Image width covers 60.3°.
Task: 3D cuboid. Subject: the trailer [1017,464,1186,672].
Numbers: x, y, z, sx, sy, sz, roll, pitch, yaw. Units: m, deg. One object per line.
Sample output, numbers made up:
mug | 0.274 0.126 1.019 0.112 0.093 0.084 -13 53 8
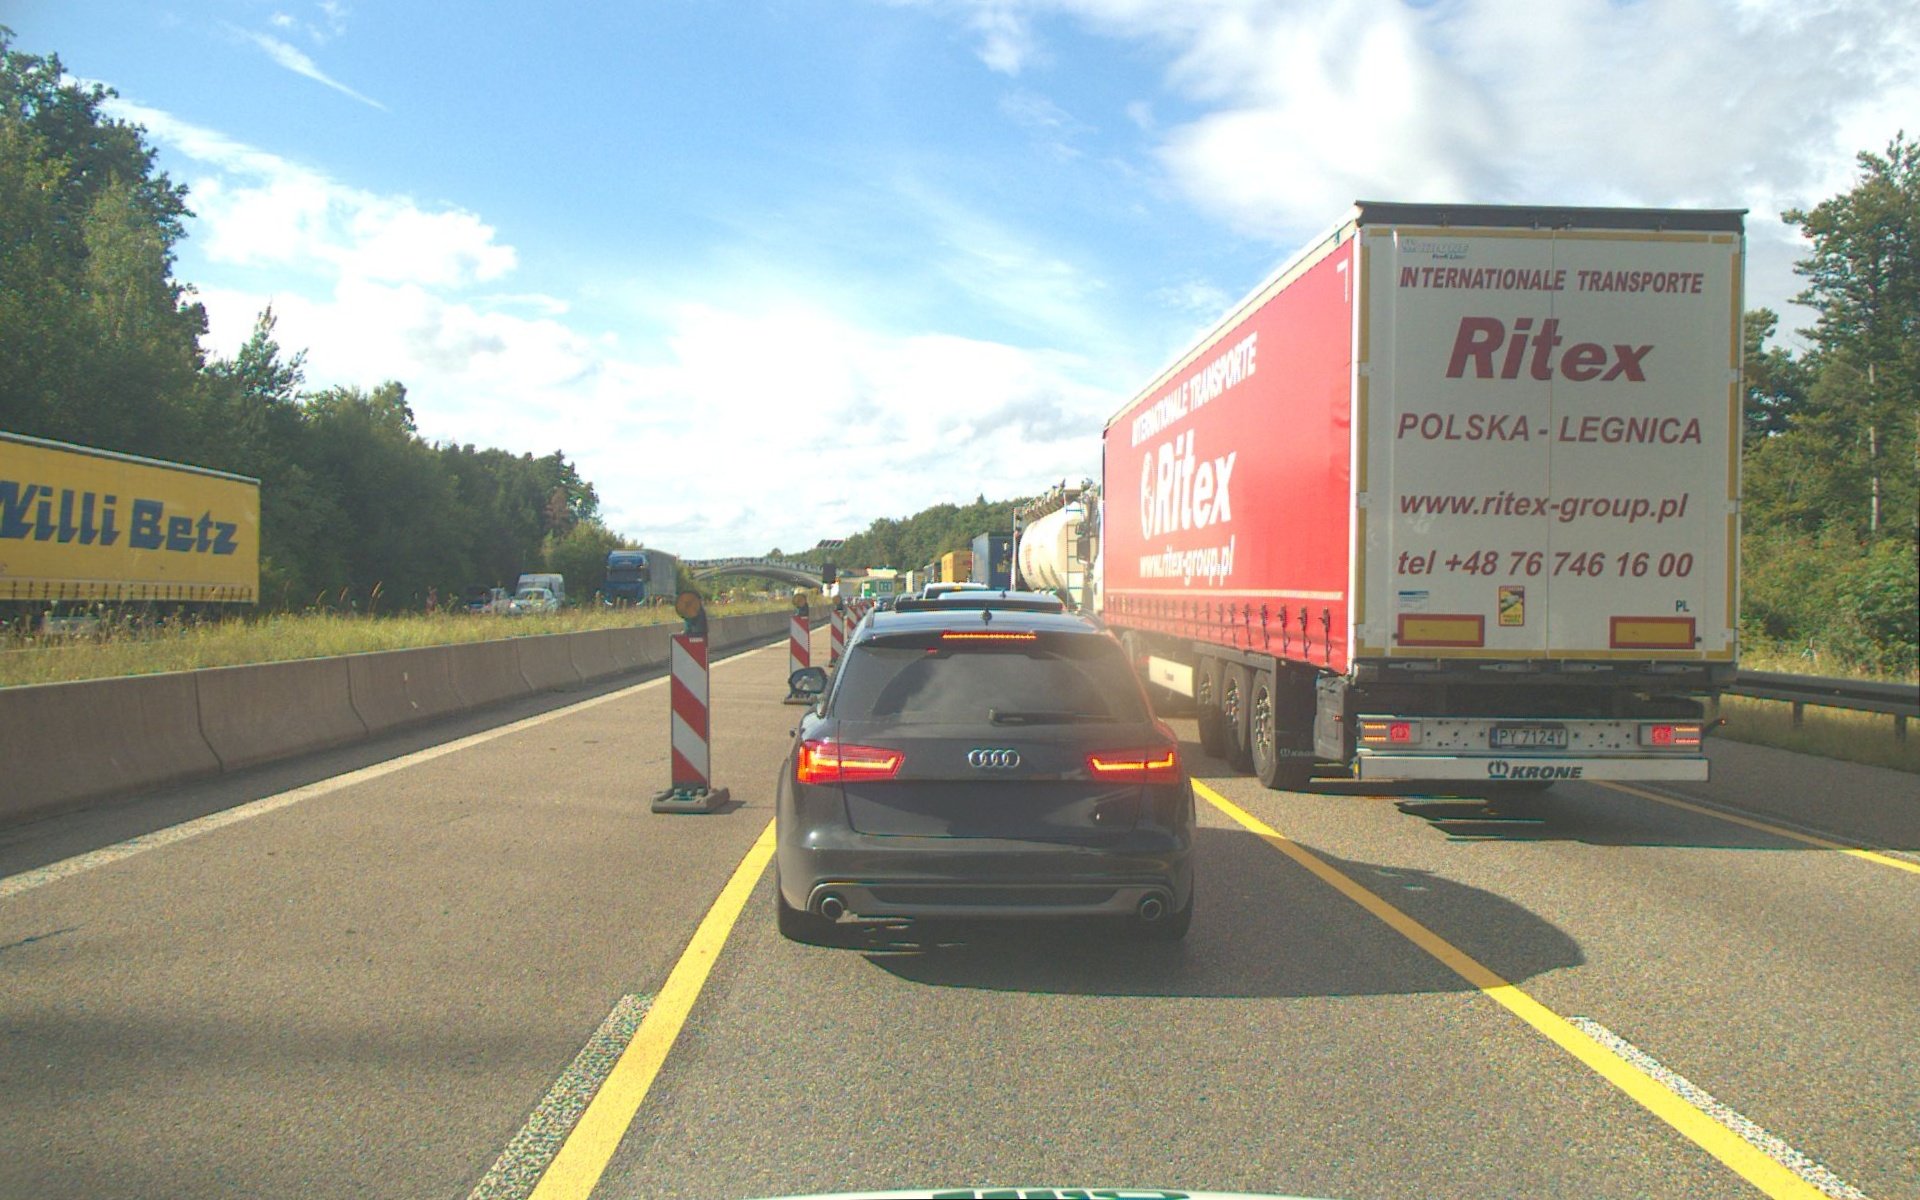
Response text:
trailer | 2.989 -0.619 38.616 2.590 4.012 12.595 1 0 -1

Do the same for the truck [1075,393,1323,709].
truck | 3.280 -0.640 24.152 2.614 4.029 5.709 1 0 -2

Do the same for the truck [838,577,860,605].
truck | -17.635 -1.471 262.262 3.239 4.248 9.692 1 0 -5

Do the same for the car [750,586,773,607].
car | -19.399 -0.367 161.812 1.954 1.982 3.998 1 0 -3

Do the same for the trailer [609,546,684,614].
trailer | -20.722 -1.292 110.032 2.566 4.214 13.370 1 0 -1

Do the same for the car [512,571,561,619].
car | -24.827 -0.261 97.064 2.208 2.689 5.010 1 0 -8

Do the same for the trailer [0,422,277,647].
trailer | -18.493 -1.151 34.545 2.770 3.991 13.937 1 0 -1

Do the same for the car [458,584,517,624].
car | -24.880 0.209 87.200 1.953 2.049 3.999 1 0 -1

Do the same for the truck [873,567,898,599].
truck | -10.300 -2.285 228.406 3.238 4.248 9.696 1 0 -3

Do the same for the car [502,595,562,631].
car | -19.739 0.590 76.476 1.751 1.588 3.999 1 0 -1

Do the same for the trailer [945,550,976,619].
trailer | 0.013 -0.876 98.865 1.584 3.987 6.487 1 0 -2

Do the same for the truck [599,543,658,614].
truck | -20.607 -1.290 103.003 2.584 4.262 5.466 1 0 -1

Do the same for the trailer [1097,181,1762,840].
trailer | 3.475 -0.569 16.951 2.645 4.038 13.413 1 0 -1

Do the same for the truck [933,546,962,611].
truck | -1.070 -1.687 132.395 1.953 5.000 9.558 1 0 -2

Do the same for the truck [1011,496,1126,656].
truck | 2.857 -0.589 45.141 2.605 4.041 5.777 1 0 -1

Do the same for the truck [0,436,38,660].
truck | -18.407 -0.964 27.515 2.769 3.977 5.947 1 0 -1

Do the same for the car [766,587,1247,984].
car | 0.151 0.715 8.262 1.811 1.489 3.999 1 0 -1

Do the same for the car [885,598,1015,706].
car | -0.160 0.707 24.035 1.716 1.421 3.607 1 0 -1

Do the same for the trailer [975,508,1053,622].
trailer | 2.209 -1.372 71.275 2.748 4.490 10.430 1 0 -1

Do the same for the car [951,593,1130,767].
car | 0.683 0.696 15.852 1.493 1.464 3.284 1 0 -1

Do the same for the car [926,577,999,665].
car | 0.030 0.459 37.407 1.549 1.869 3.111 1 0 -1

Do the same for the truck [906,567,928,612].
truck | -4.245 -1.017 164.047 2.094 4.332 7.069 1 0 -1
